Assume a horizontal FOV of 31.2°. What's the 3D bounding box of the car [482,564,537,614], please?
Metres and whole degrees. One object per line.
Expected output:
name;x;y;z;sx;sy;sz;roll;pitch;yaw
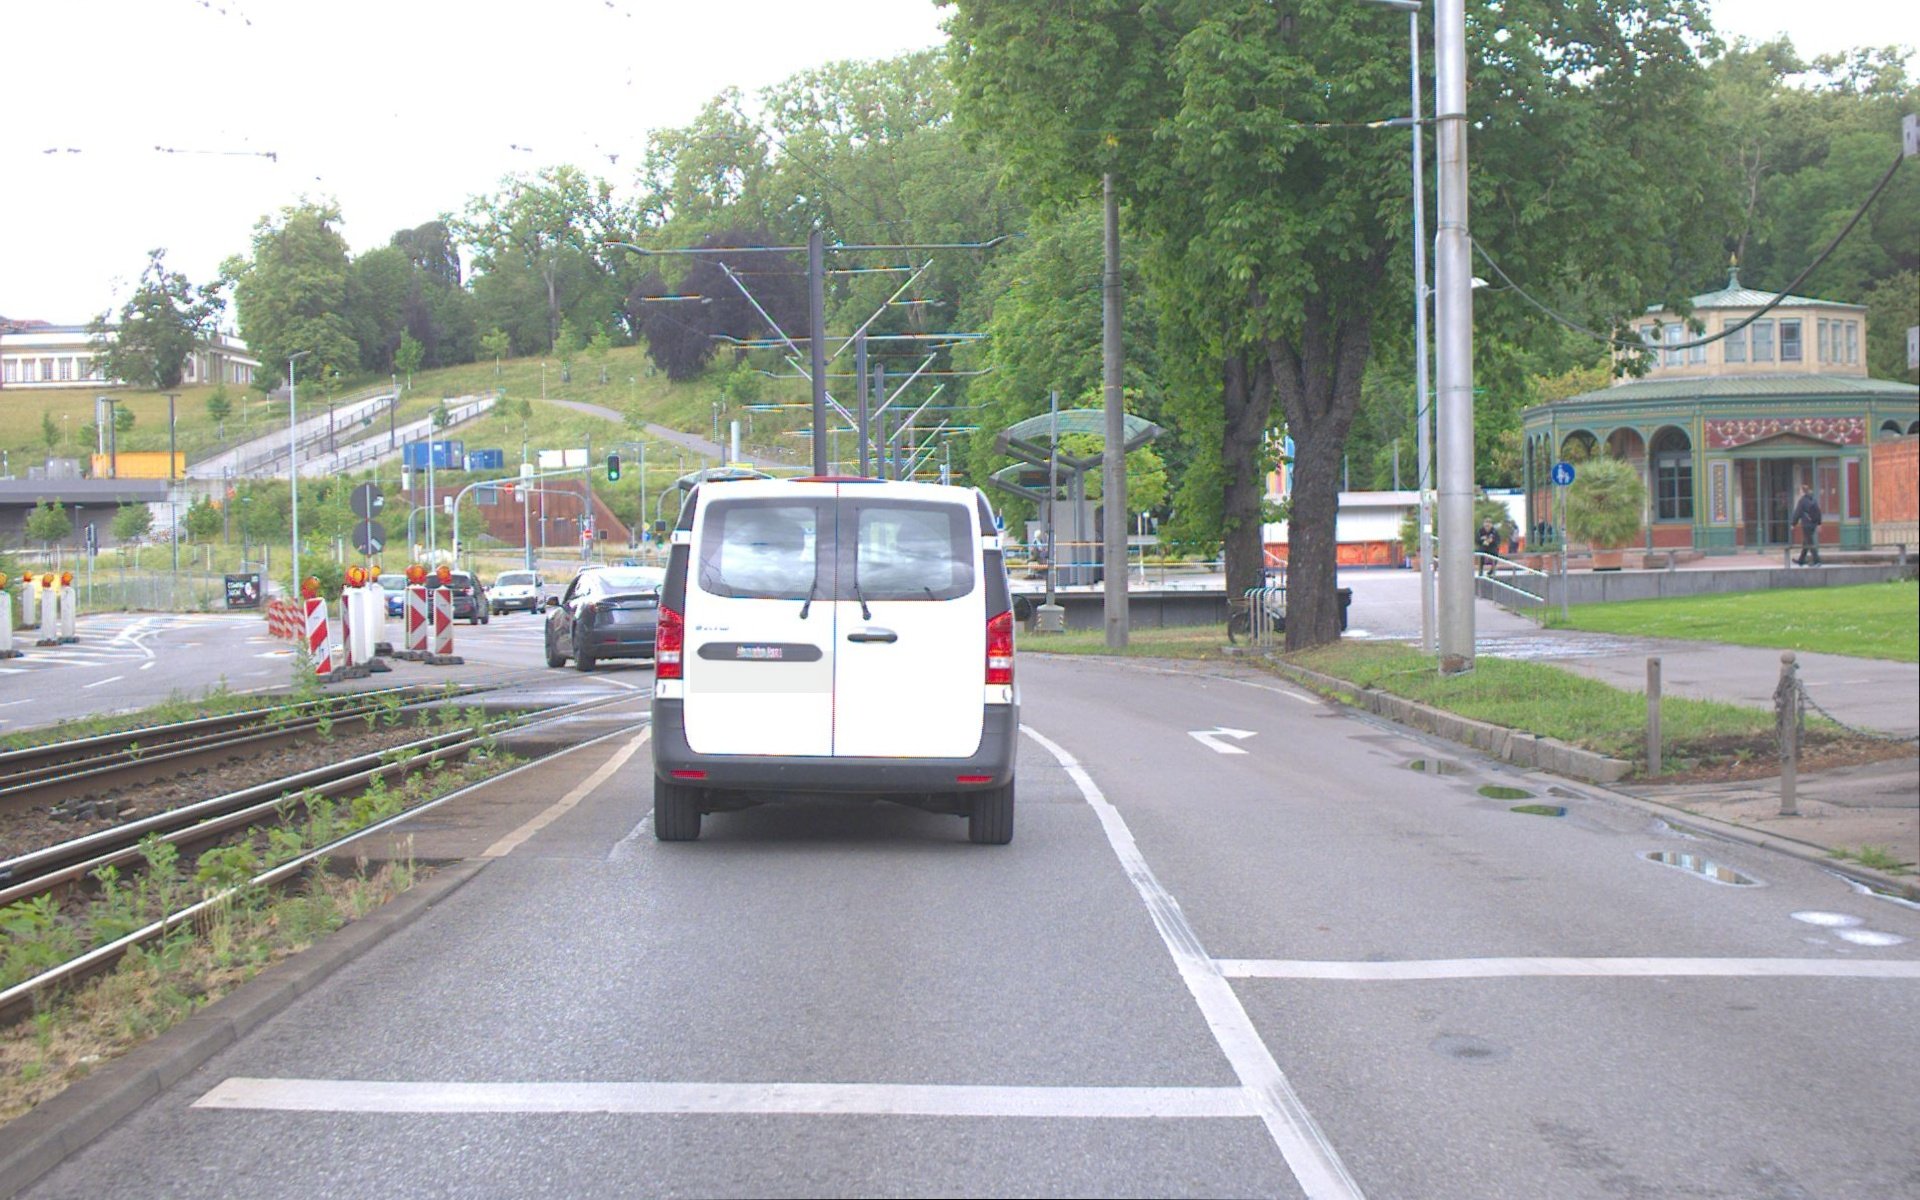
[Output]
car;-18.424;-0.447;140.805;1.934;2.007;4.000;1;0;-4

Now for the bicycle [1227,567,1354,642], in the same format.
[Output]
bicycle;5.301;0.066;55.180;1.991;1.154;0.741;-1;0;5

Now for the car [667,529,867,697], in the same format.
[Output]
car;-2.157;0.127;37.437;1.838;1.723;4.063;0;0;-8

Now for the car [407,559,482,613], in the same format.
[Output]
car;-14.537;-0.397;96.835;1.838;1.462;4.063;0;0;-12

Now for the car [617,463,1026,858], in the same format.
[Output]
car;-0.696;0.285;18.845;1.959;1.897;4.461;0;0;-1

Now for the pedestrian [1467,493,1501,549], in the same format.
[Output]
pedestrian;11.358;-1.713;74.553;0.548;1.197;0.669;1;0;-6

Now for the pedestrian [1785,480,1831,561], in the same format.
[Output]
pedestrian;19.603;-1.835;79.522;0.949;1.831;0.549;1;0;8

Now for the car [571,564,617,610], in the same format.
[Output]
car;-14.474;-0.524;135.882;1.752;1.766;4.001;1;0;-6

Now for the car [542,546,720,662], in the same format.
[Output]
car;-4.725;0.047;48.909;1.838;1.577;4.063;0;0;-15
